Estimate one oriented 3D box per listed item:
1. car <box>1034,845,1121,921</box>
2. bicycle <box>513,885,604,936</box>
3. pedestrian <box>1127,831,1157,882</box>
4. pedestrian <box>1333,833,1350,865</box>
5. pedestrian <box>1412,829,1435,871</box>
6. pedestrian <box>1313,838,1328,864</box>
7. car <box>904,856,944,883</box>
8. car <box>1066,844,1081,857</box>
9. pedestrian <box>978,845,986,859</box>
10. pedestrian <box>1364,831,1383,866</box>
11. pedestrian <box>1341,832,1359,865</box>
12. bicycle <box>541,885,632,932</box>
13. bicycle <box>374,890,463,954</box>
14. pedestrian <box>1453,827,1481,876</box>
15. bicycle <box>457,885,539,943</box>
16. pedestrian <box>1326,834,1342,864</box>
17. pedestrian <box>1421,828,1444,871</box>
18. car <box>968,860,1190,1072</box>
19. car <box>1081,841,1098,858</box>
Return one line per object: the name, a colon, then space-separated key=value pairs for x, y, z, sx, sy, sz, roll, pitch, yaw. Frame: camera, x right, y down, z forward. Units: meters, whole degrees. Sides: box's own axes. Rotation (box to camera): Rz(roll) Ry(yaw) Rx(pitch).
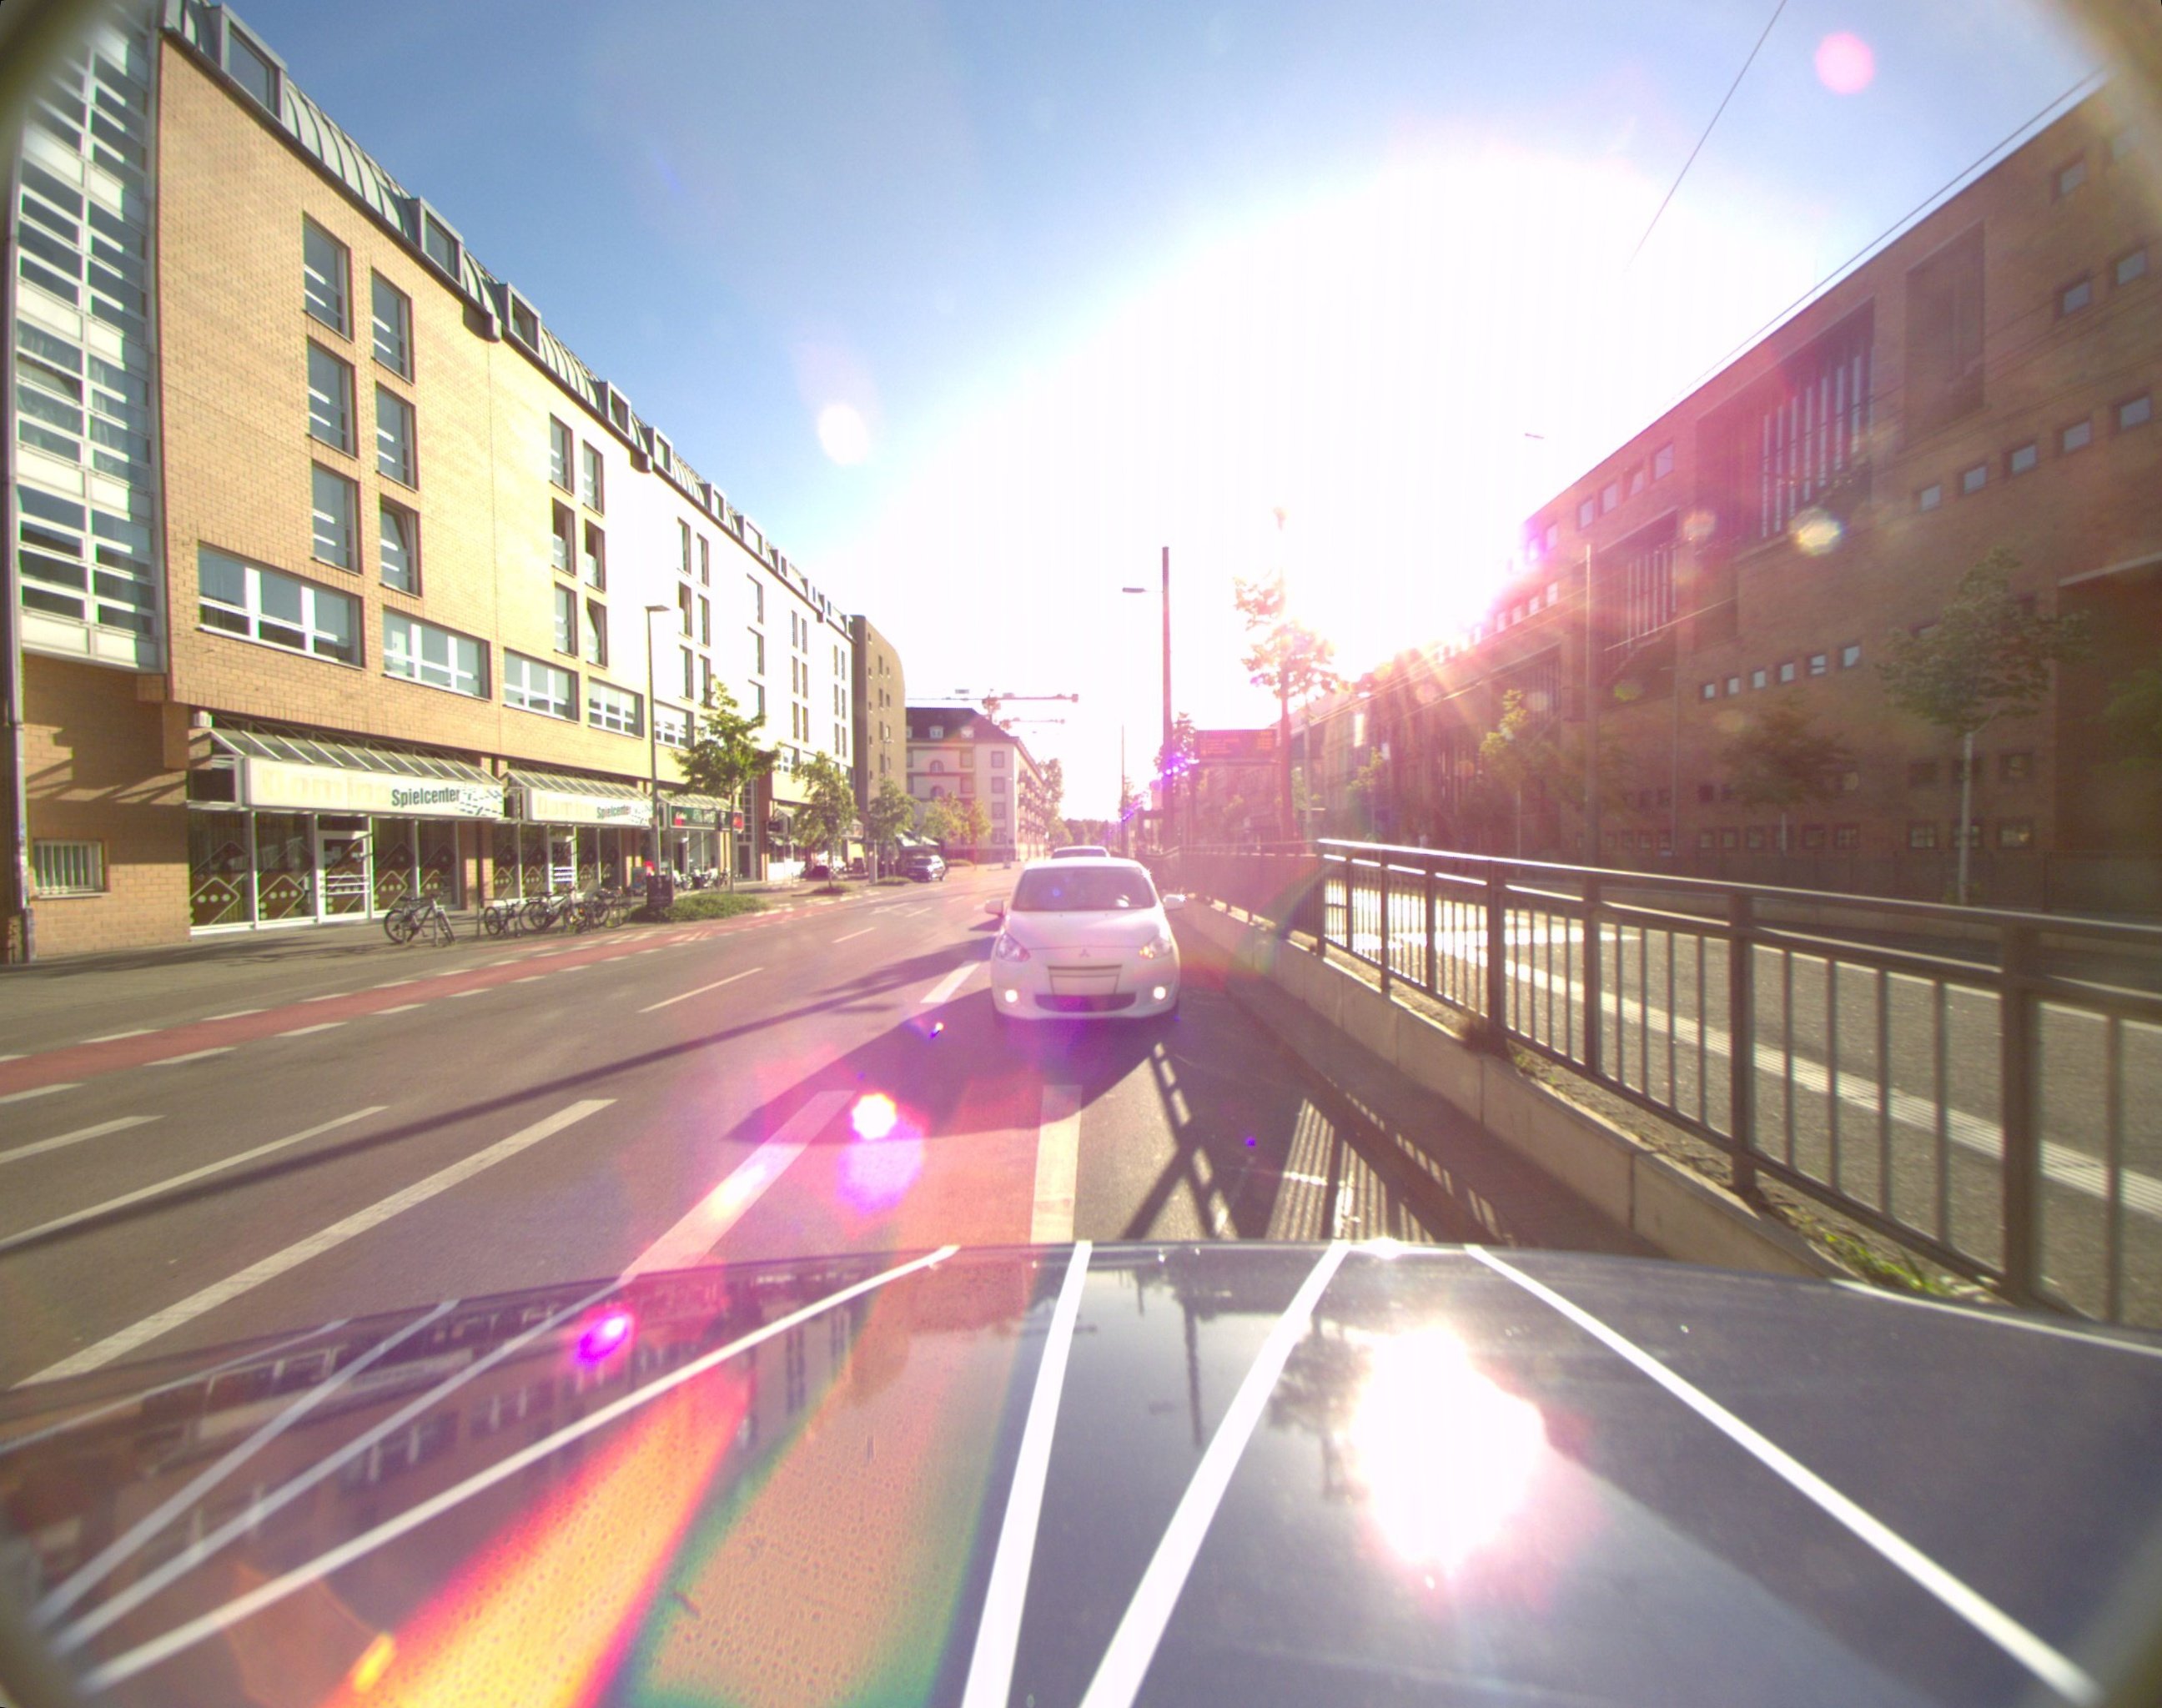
car: x=-0.055 y=0.635 z=19.670 sx=1.955 sy=1.652 sz=4.354 roll=-2 pitch=1 yaw=1
bicycle: x=-12.326 y=1.330 z=17.933 sx=1.774 sy=1.135 sz=0.553 roll=0 pitch=2 yaw=3
pedestrian: x=2.454 y=0.088 z=30.413 sx=0.882 sy=2.002 sz=0.782 roll=-2 pitch=1 yaw=-37
pedestrian: x=14.374 y=-0.266 z=41.924 sx=0.692 sy=1.732 sz=0.586 roll=-1 pitch=1 yaw=-2
pedestrian: x=14.463 y=-0.163 z=32.080 sx=0.692 sy=1.732 sz=0.586 roll=-1 pitch=1 yaw=-2
pedestrian: x=14.428 y=-0.189 z=45.766 sx=0.692 sy=1.566 sz=0.586 roll=-1 pitch=1 yaw=-2
car: x=-9.948 y=0.937 z=48.500 sx=1.655 sy=1.521 sz=3.692 roll=-2 pitch=1 yaw=1
car: x=-0.977 y=-0.508 z=102.697 sx=1.829 sy=1.644 sz=3.683 roll=-1 pitch=1 yaw=2
pedestrian: x=-12.156 y=-0.244 z=93.329 sx=0.804 sy=1.656 sz=0.891 roll=-1 pitch=1 yaw=-6
pedestrian: x=14.487 y=-0.264 z=37.688 sx=0.692 sy=1.732 sz=0.586 roll=-1 pitch=1 yaw=-2
pedestrian: x=14.298 y=-0.277 z=40.373 sx=0.692 sy=1.732 sz=0.586 roll=-1 pitch=1 yaw=-2
bicycle: x=-12.254 y=1.337 z=18.864 sx=1.774 sy=1.065 sz=0.737 roll=0 pitch=2 yaw=3
bicycle: x=-13.345 y=1.350 z=15.299 sx=1.771 sy=1.142 sz=0.554 roll=1 pitch=3 yaw=21
pedestrian: x=13.963 y=-0.089 z=27.469 sx=0.692 sy=1.732 sz=0.586 roll=-1 pitch=1 yaw=-2
bicycle: x=-12.789 y=1.304 z=16.669 sx=1.771 sy=1.142 sz=0.554 roll=1 pitch=3 yaw=21
pedestrian: x=14.337 y=-0.282 z=43.118 sx=0.692 sy=1.732 sz=0.586 roll=-1 pitch=1 yaw=-2
pedestrian: x=14.496 y=-0.178 z=31.339 sx=0.692 sy=1.732 sz=0.586 roll=-1 pitch=1 yaw=-2
car: x=0.005 y=0.874 z=7.879 sx=1.640 sy=1.458 sz=4.185 roll=-2 pitch=1 yaw=1
car: x=1.064 y=-0.575 z=94.060 sx=1.998 sy=1.958 sz=4.000 roll=-1 pitch=1 yaw=0
